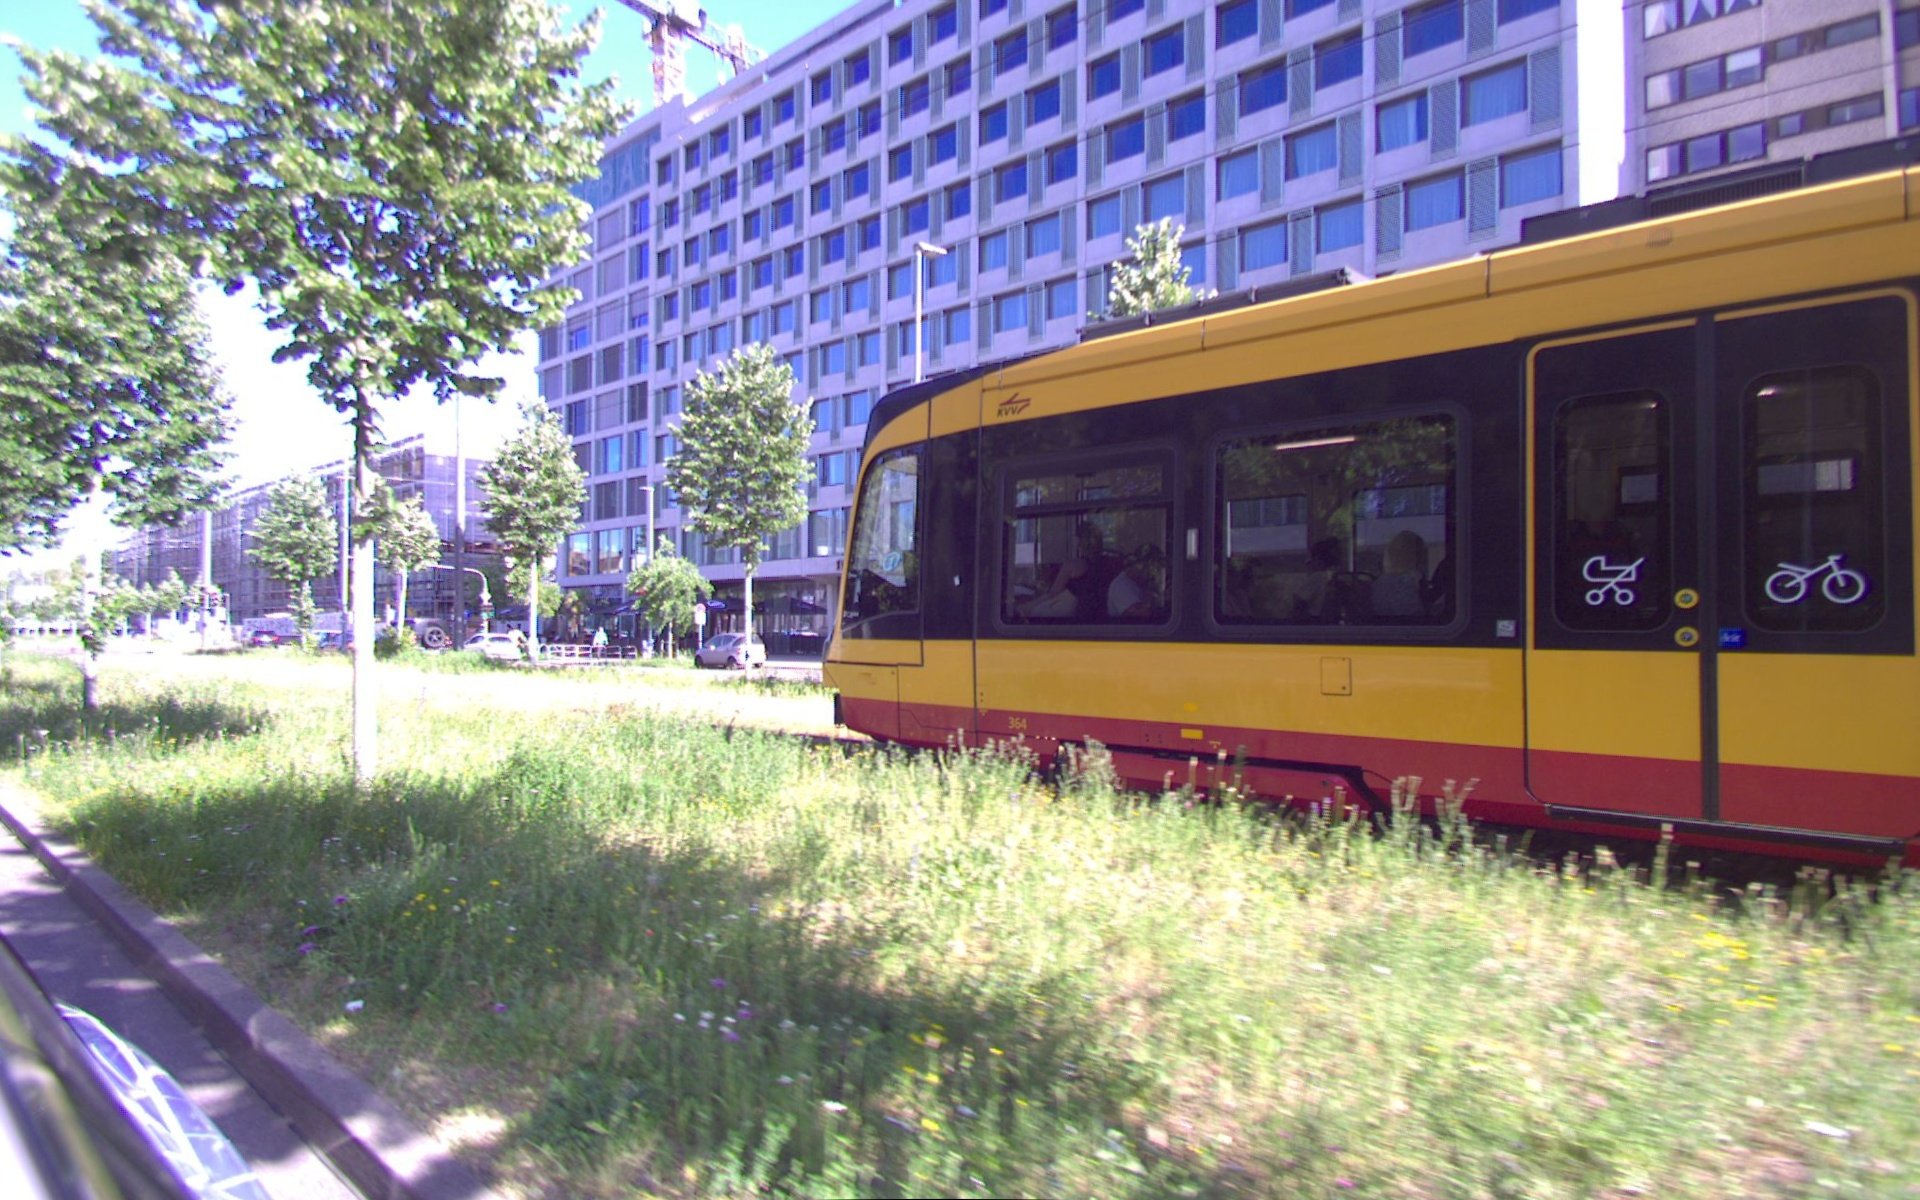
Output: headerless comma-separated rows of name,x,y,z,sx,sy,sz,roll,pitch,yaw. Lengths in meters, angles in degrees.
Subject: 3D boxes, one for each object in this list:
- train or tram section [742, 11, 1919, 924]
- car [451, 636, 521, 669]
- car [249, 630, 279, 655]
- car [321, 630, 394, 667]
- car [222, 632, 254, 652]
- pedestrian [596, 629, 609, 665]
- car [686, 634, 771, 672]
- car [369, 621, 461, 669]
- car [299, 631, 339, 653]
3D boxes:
train or tram section,4.109,-0.525,5.198,14.140,3.697,1.973,-1,-1,40
car,-23.655,2.572,50.442,3.811,1.519,1.804,-1,-1,41
car,-50.961,3.092,74.057,1.749,1.686,3.899,0,-1,-35
car,-27.399,2.164,45.971,3.998,1.564,1.707,-1,-1,41
car,-61.937,3.584,86.768,1.861,1.586,4.005,0,-1,-41
pedestrian,-18.812,2.454,53.276,0.501,1.854,0.516,0,-1,-38
car,-10.350,2.331,45.185,3.771,1.561,1.841,-1,-1,41
car,-22.291,1.792,41.334,4.284,1.833,1.972,-1,-1,42
car,-48.009,3.113,75.764,4.002,1.558,1.718,-2,-1,45
